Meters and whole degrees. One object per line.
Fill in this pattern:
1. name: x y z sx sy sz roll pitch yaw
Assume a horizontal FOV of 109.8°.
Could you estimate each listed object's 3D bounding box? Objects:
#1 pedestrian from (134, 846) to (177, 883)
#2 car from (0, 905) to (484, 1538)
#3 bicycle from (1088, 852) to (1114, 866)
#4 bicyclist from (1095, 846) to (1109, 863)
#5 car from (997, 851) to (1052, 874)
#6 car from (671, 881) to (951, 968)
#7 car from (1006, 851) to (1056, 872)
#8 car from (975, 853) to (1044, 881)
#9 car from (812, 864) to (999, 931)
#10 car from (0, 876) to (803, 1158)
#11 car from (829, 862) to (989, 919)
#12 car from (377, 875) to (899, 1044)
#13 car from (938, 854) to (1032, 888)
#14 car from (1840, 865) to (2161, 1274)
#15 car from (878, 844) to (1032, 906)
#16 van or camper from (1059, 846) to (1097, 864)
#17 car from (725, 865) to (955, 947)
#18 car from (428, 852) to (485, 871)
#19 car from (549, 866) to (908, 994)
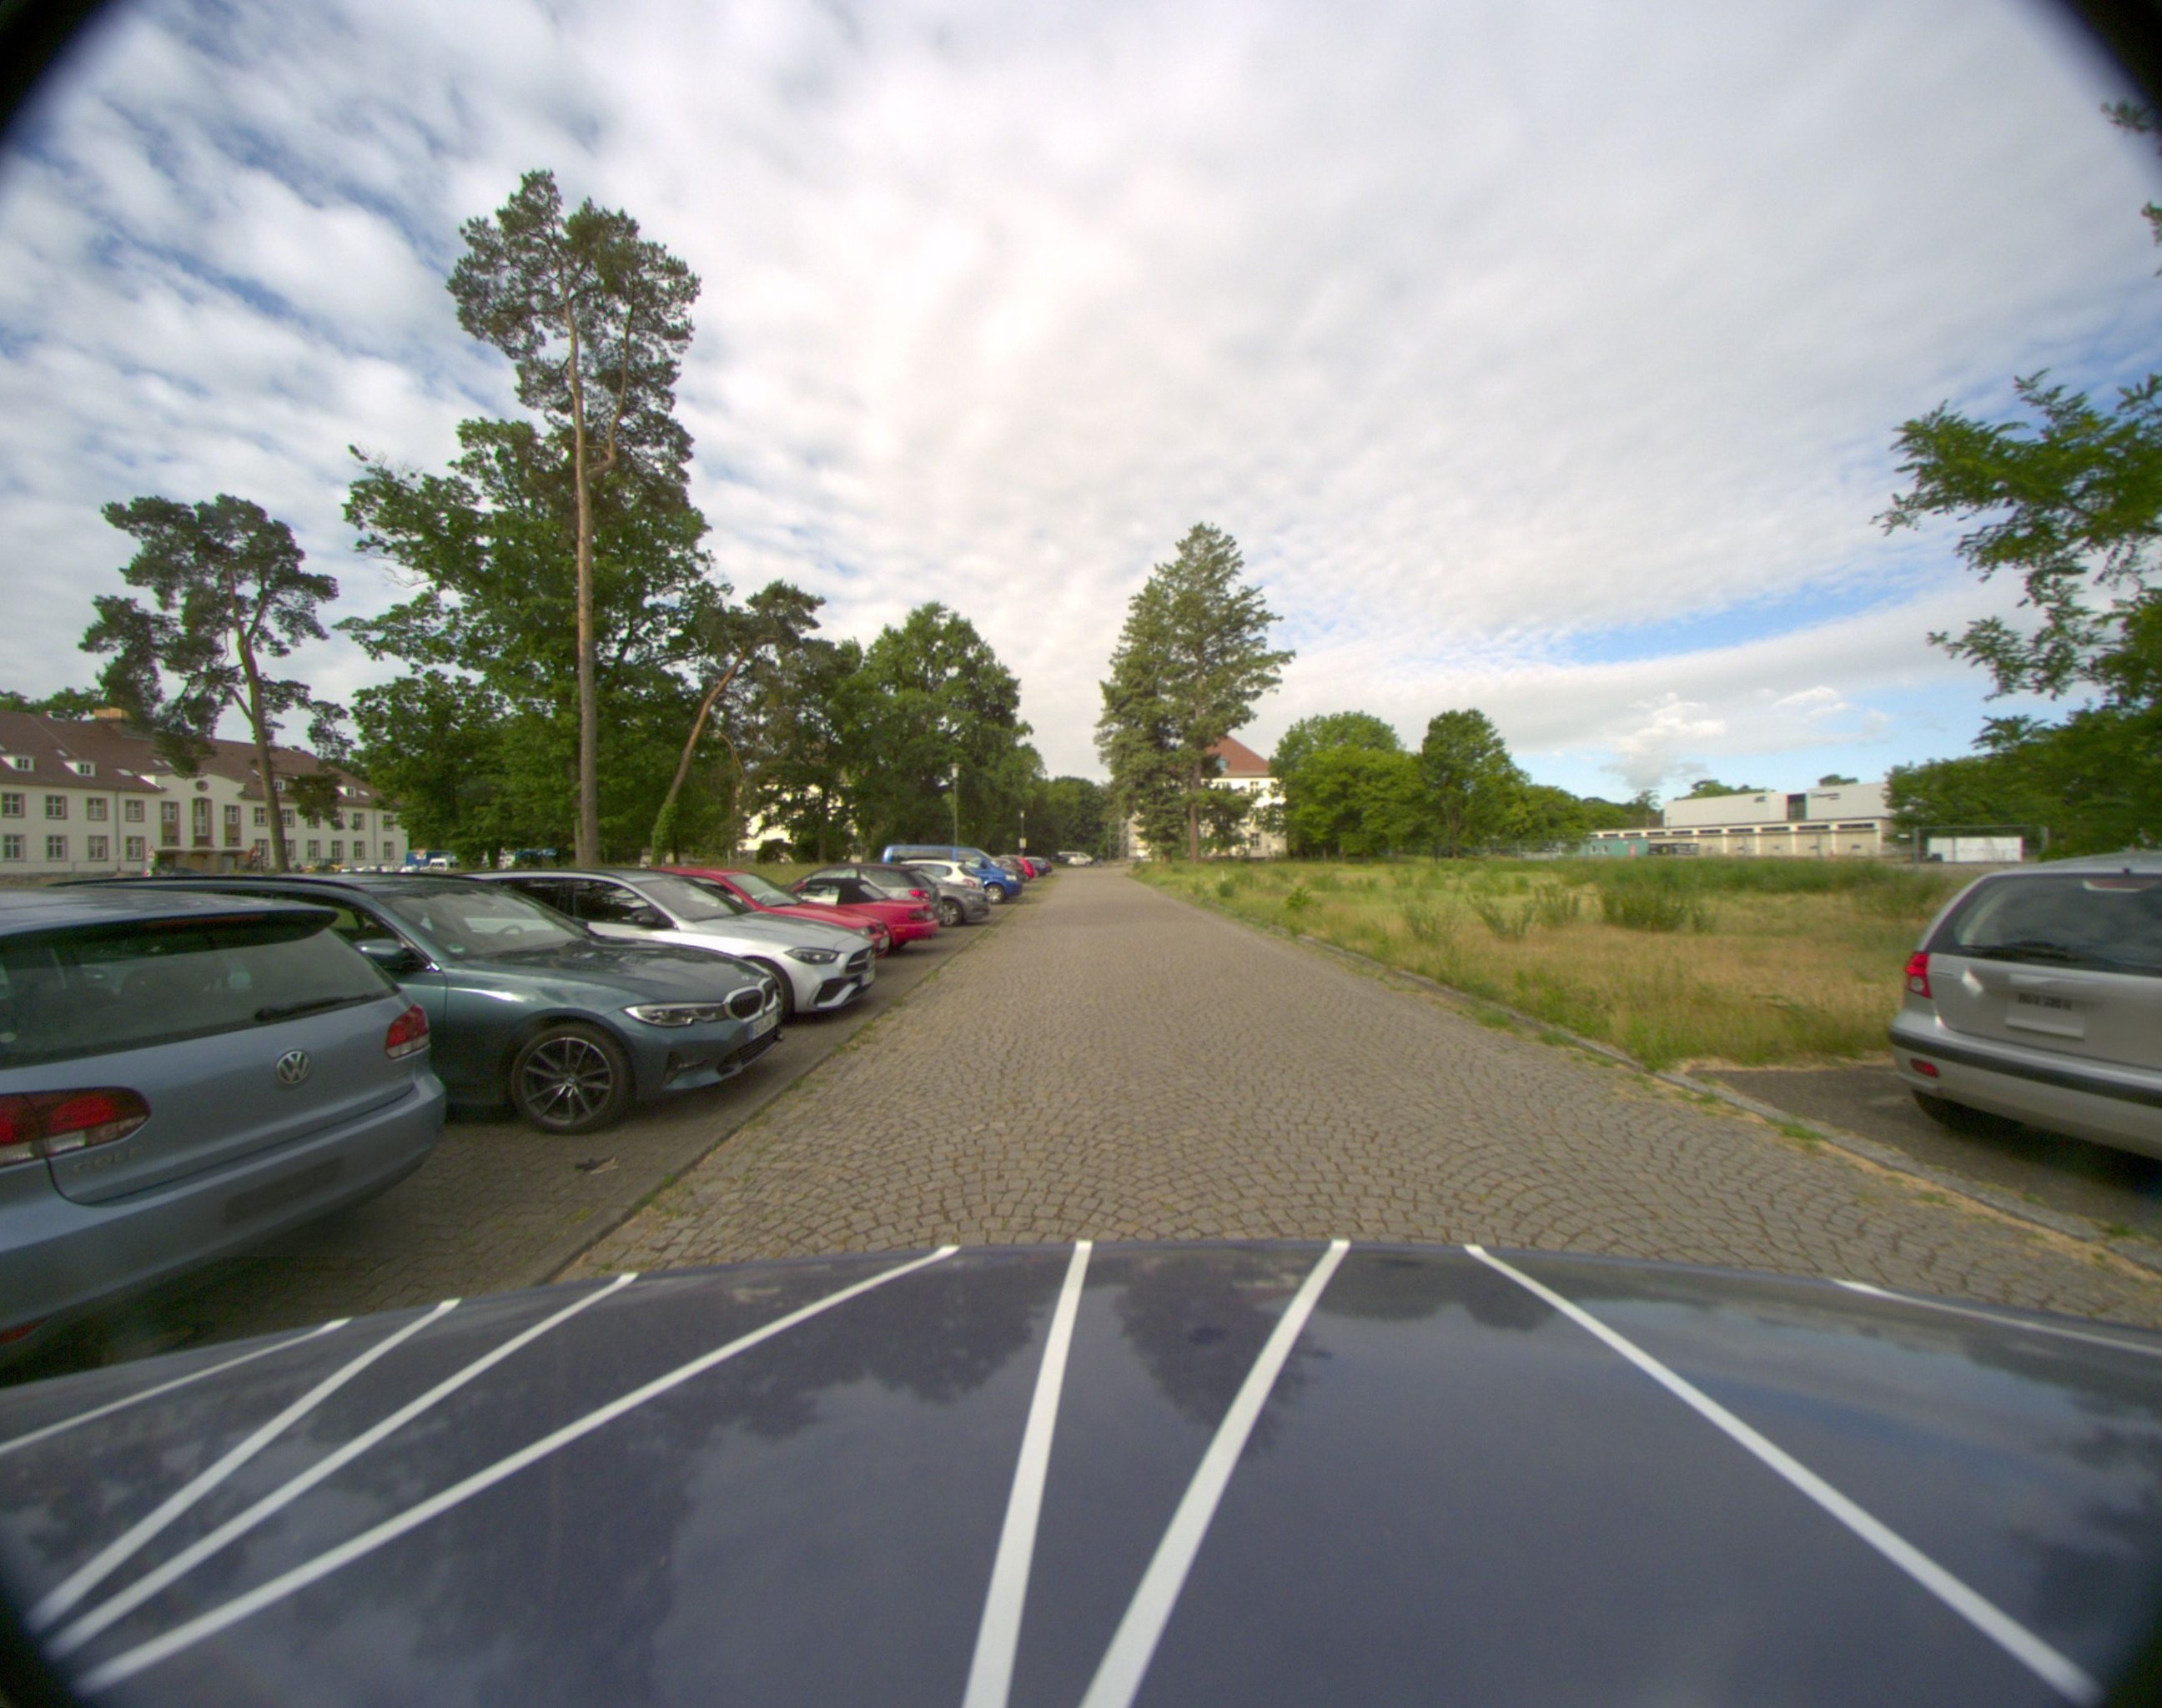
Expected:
1. pedestrian: -54.519 0.594 44.769 1.184 2.165 1.056 0 1 0
2. car: -4.570 0.943 2.370 3.996 1.410 1.797 0 1 1
3. bicycle: 2.180 0.517 81.672 2.673 1.496 1.273 -1 1 5
4. bicyclist: 2.275 0.074 81.671 1.318 1.857 1.250 0 1 6
5. car: -4.131 0.612 55.609 3.790 1.560 2.000 0 1 2
6. car: -4.278 1.103 12.474 3.932 1.227 1.797 0 1 1
7. car: -3.911 0.571 60.087 3.790 1.615 2.000 0 1 2
8. car: -4.233 0.753 45.299 3.998 1.560 1.999 -1 1 -3
9. car: -4.005 0.985 17.787 3.933 1.427 1.796 0 1 1
10. car: -4.488 0.915 5.002 4.630 1.437 1.796 0 1 0
11. car: -4.603 0.963 20.743 3.933 1.441 1.796 0 1 1
12. car: -4.231 0.979 7.733 4.266 1.437 1.797 0 1 3
13. car: -4.362 0.758 35.004 3.996 1.496 1.869 0 1 3
14. car: 6.061 0.784 3.307 3.985 1.447 1.680 -3 1 -4
15. car: -4.252 0.696 26.070 4.839 2.002 2.000 0 1 4
16. van or camper: -0.453 0.152 109.104 5.248 2.449 2.208 -1 1 -2
17. car: -4.632 0.983 15.003 3.932 1.467 1.797 0 1 1
18. car: -67.944 0.782 82.780 2.166 2.002 4.833 -1 0 -1
19. car: -4.511 0.948 10.145 3.932 1.504 1.797 0 1 3
